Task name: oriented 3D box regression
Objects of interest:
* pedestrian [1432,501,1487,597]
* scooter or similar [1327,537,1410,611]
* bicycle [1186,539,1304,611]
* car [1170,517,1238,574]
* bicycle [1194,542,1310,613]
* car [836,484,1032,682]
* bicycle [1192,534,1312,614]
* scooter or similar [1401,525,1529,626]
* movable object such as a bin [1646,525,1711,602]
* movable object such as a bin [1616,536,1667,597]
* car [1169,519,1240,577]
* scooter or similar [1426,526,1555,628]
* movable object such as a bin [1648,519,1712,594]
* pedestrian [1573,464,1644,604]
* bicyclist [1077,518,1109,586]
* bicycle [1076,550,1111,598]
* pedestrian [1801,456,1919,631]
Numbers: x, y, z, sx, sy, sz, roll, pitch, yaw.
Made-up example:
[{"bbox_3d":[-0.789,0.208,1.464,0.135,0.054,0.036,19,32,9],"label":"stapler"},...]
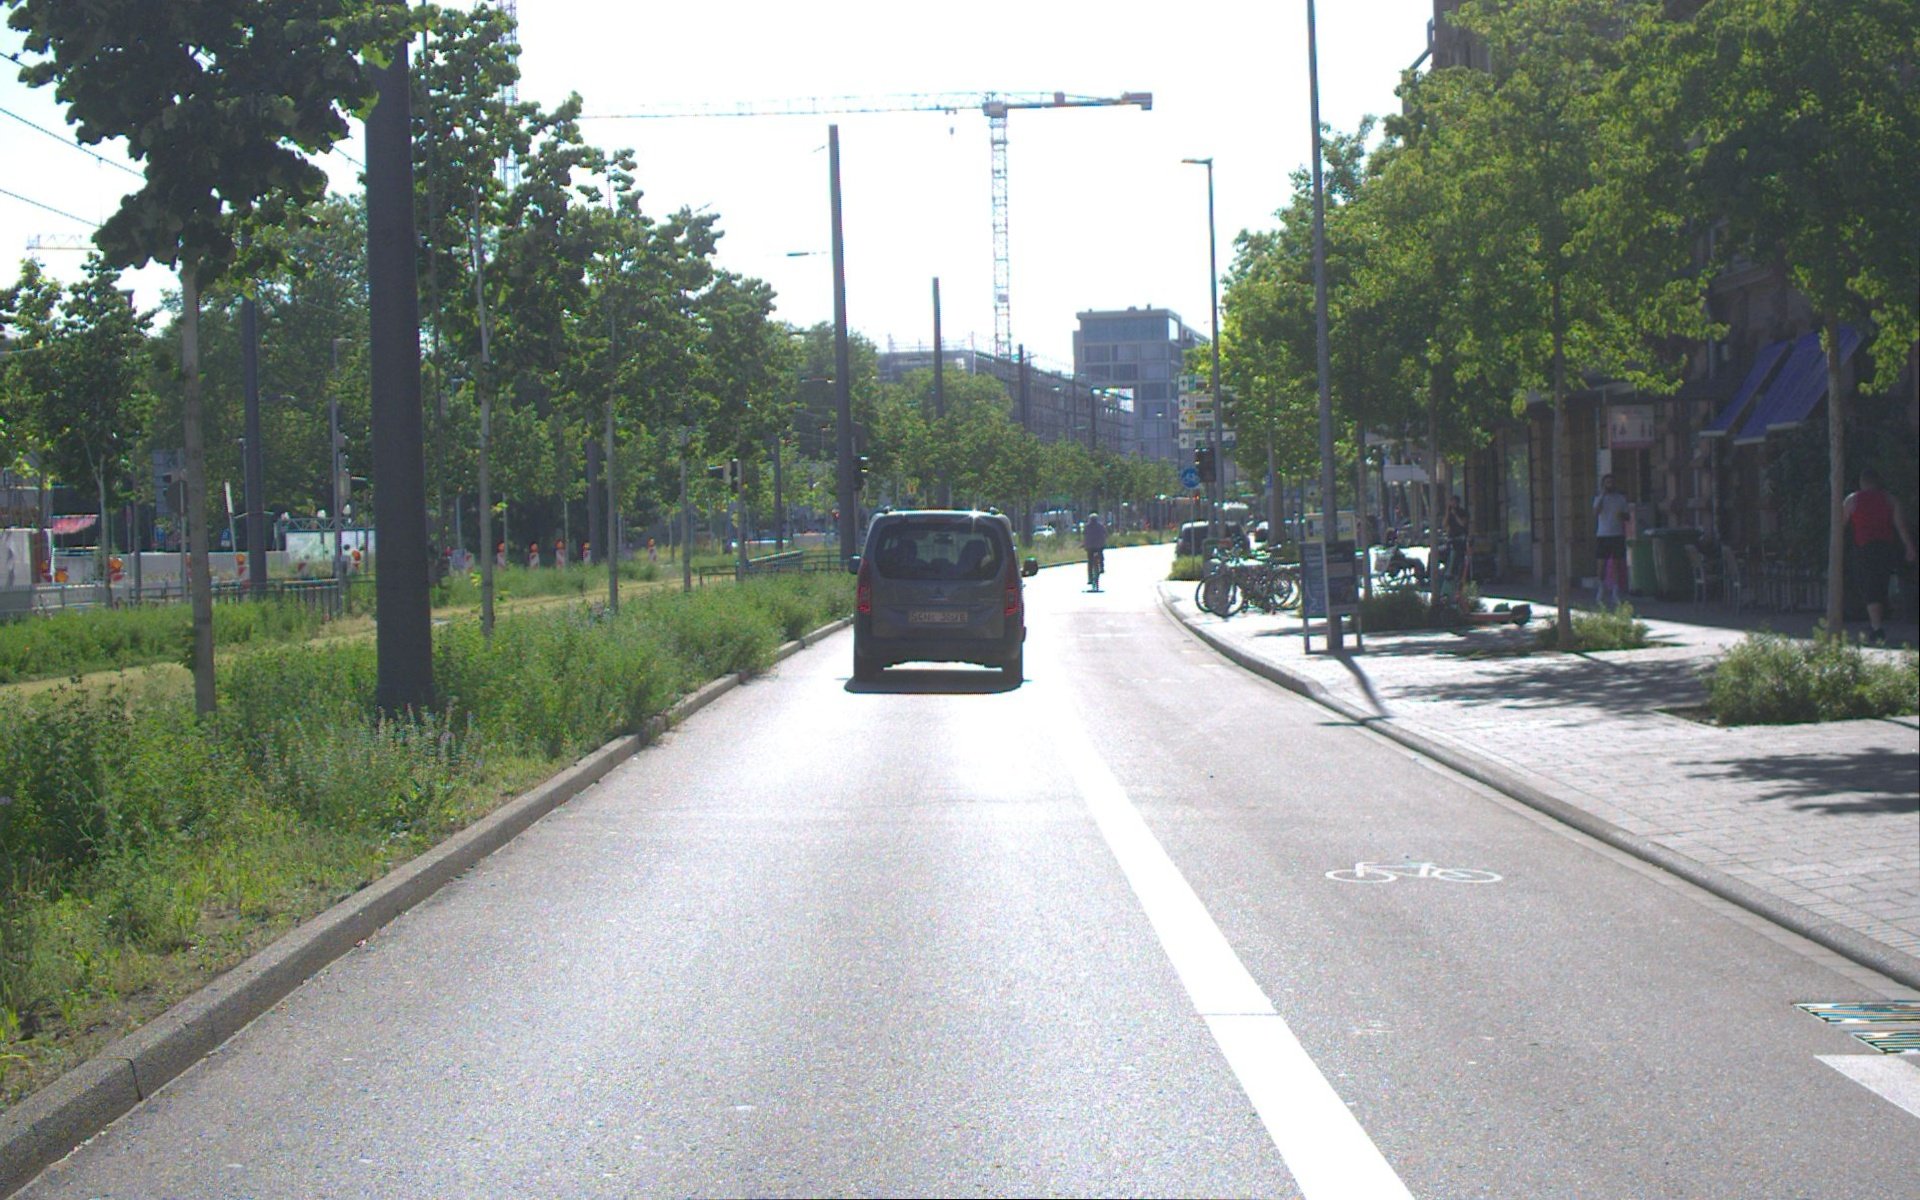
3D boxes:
[{"bbox_3d":[9.326,-0.951,64.206,0.844,1.736,0.886,-2,0,1],"label":"pedestrian"},{"bbox_3d":[6.507,-0.417,54.853,1.220,1.102,0.783,-3,2,3],"label":"scooter or similar"},{"bbox_3d":[5.036,-0.444,60.762,1.915,1.117,0.665,-5,1,-6],"label":"bicycle"},{"bbox_3d":[7.546,-1.672,106.183,2.022,1.716,4.118,0,0,5],"label":"car"},{"bbox_3d":[5.027,-0.389,59.246,1.824,1.075,0.665,-4,1,-6],"label":"bicycle"},{"bbox_3d":[-0.323,-0.190,37.136,1.993,2.007,4.000,0,0,-2],"label":"car"},{"bbox_3d":[4.900,-0.438,57.711,1.878,1.229,0.500,-4,1,-5],"label":"bicycle"},{"bbox_3d":[6.585,-0.326,44.869,1.473,1.212,0.602,-4,2,-10],"label":"scooter or similar"},{"bbox_3d":[10.333,-0.529,49.458,0.725,1.094,0.748,-1,1,-4],"label":"movable object such as a bin"},{"bbox_3d":[10.454,-0.519,52.755,0.604,0.913,0.650,-1,1,-4],"label":"movable object such as a bin"},{"bbox_3d":[7.120,-1.505,99.870,1.989,1.632,4.189,0,0,5],"label":"car"},{"bbox_3d":[6.803,-0.298,44.108,1.473,1.212,0.602,-4,2,-4],"label":"scooter or similar"},{"bbox_3d":[10.516,-0.639,50.223,0.725,1.094,0.748,0,1,-4],"label":"movable object such as a bin"},{"bbox_3d":[9.497,-0.952,50.385,0.817,2.007,1.046,0,-2,0],"label":"pedestrian"},{"bbox_3d":[3.133,-1.132,81.000,0.683,1.579,0.840,-1,1,-1],"label":"bicyclist"},{"bbox_3d":[3.145,-0.624,81.048,0.701,1.087,2.277,-1,1,-1],"label":"bicycle"},{"bbox_3d":[8.997,-0.561,34.283,0.996,1.725,0.866,0,0,0],"label":"pedestrian"}]
